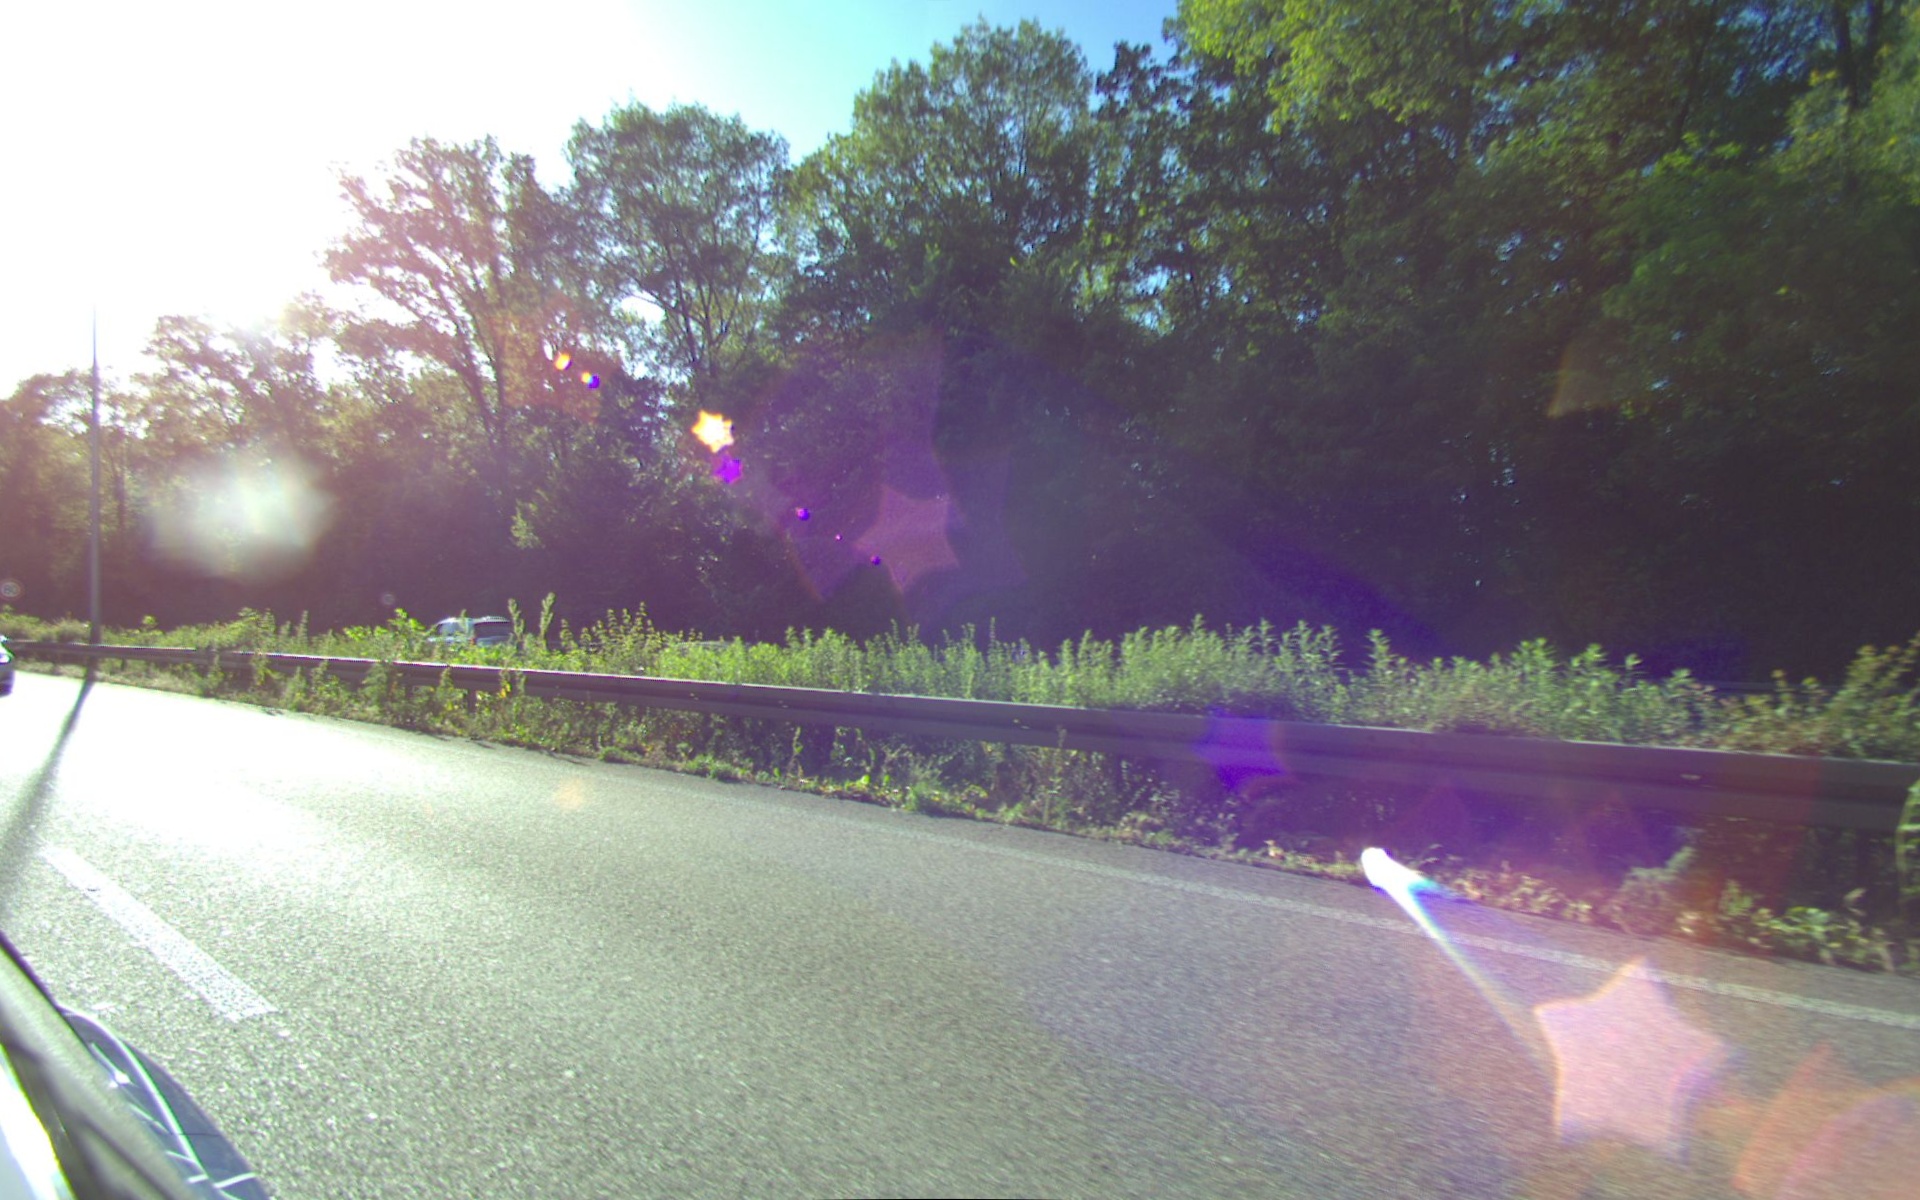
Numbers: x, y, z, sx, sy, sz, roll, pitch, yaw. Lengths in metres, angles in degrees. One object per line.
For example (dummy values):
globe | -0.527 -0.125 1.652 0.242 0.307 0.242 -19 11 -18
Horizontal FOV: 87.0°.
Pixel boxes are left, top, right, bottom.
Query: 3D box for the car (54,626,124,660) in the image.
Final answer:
car | -49.255 2.382 57.223 4.283 1.798 1.977 -1 0 34

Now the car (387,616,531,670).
car | -15.682 1.269 31.559 5.232 1.497 1.975 -1 0 38

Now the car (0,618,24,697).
car | -20.974 1.179 20.614 5.590 1.519 1.911 -2 -1 38

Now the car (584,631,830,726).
car | -5.049 1.422 19.749 5.235 1.497 1.973 -1 0 40
